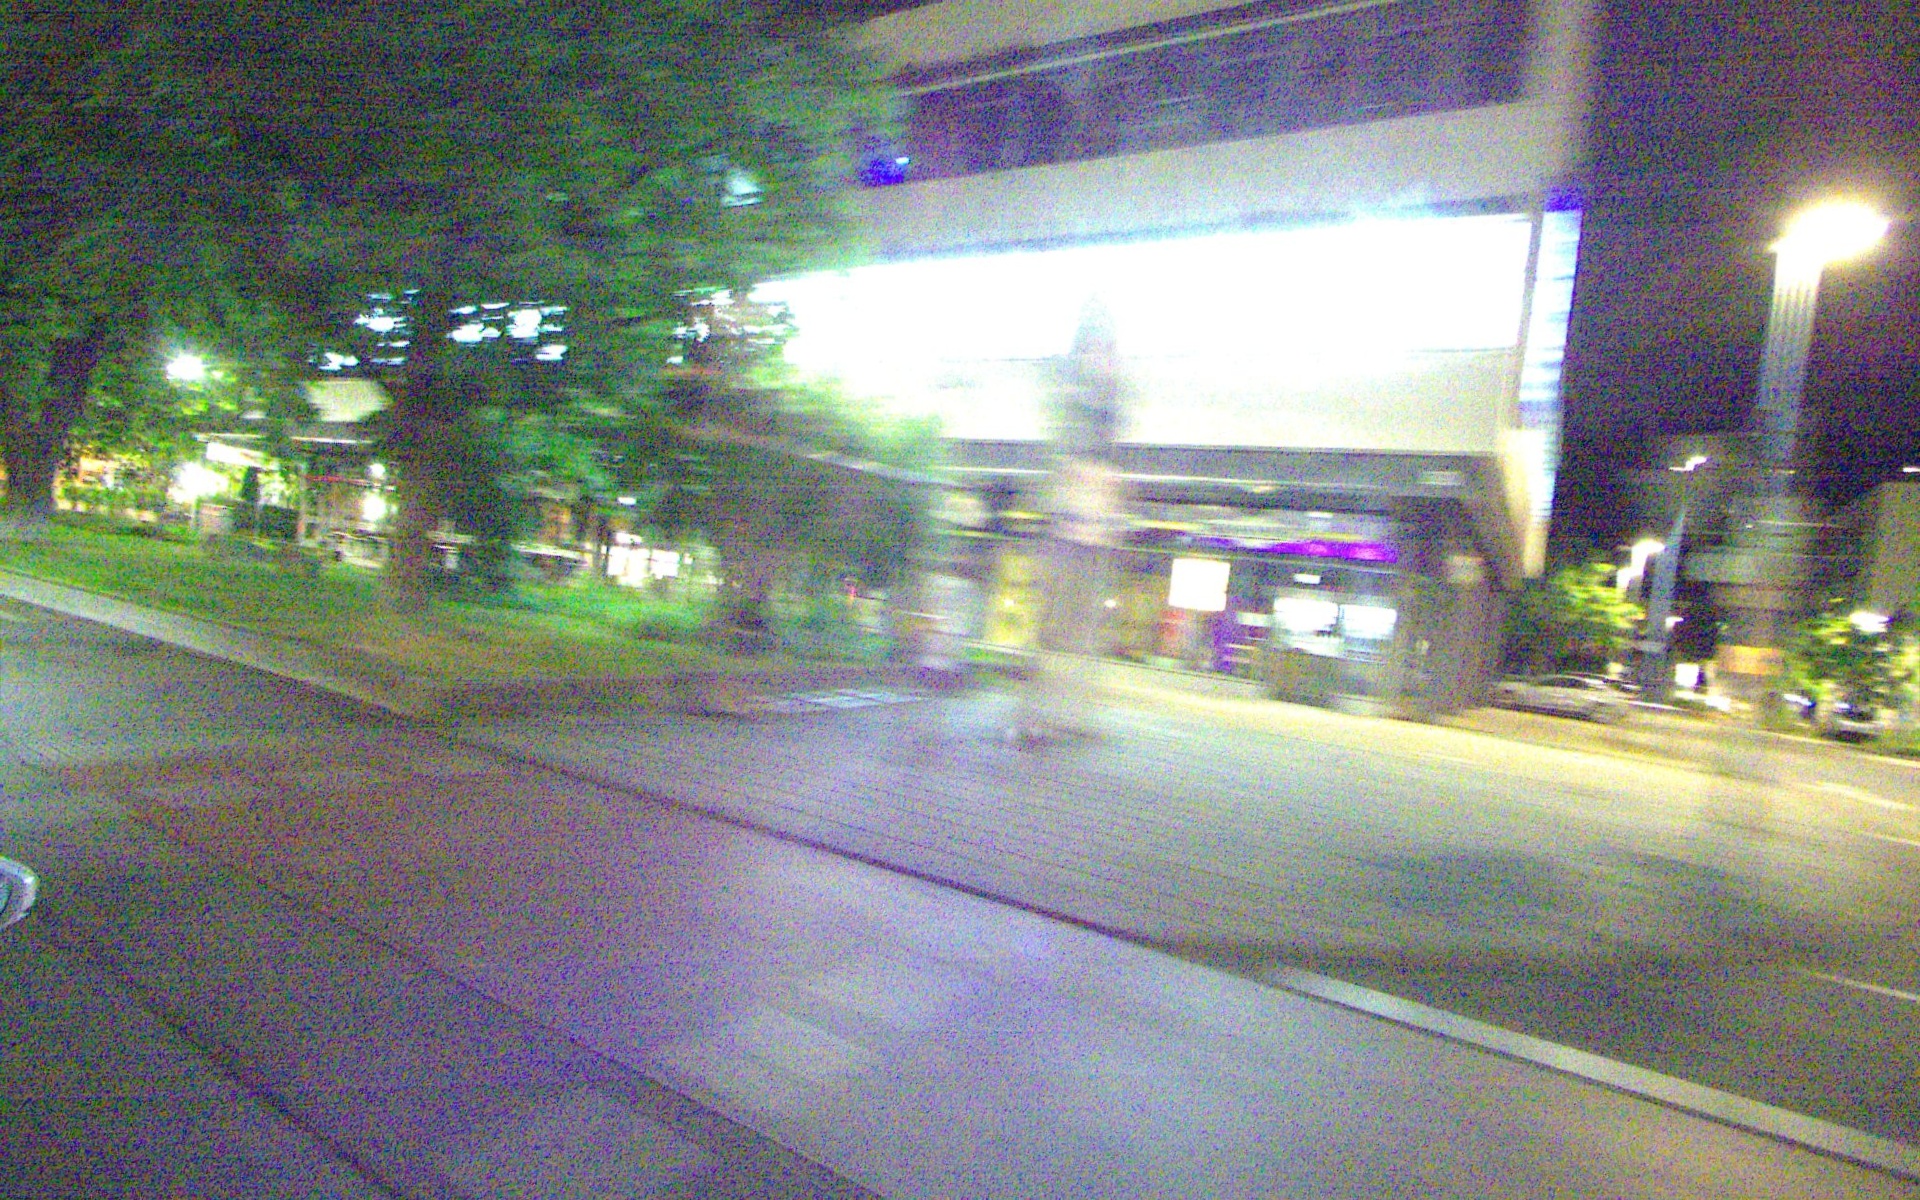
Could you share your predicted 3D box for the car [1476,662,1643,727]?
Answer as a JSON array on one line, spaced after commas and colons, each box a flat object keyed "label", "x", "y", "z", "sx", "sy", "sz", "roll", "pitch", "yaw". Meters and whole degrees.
[{"label": "car", "x": 20.825, "y": 3.256, "z": 35.168, "sx": 4.770, "sy": 1.490, "sz": 1.997, "roll": 7, "pitch": 0, "yaw": 30}]

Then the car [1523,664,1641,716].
[{"label": "car", "x": 25.521, "y": 3.696, "z": 41.413, "sx": 3.934, "sy": 1.503, "sz": 1.998, "roll": 7, "pitch": -2, "yaw": 32}]

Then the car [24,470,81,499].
[{"label": "car", "x": -62.771, "y": -7.981, "z": 69.577, "sx": 4.030, "sy": 1.552, "sz": 1.770, "roll": 7, "pitch": 1, "yaw": 31}]

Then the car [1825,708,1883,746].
[{"label": "car", "x": 44.886, "y": 6.340, "z": 50.601, "sx": 1.972, "sy": 1.526, "sz": 3.981, "roll": 7, "pitch": 0, "yaw": 41}]
